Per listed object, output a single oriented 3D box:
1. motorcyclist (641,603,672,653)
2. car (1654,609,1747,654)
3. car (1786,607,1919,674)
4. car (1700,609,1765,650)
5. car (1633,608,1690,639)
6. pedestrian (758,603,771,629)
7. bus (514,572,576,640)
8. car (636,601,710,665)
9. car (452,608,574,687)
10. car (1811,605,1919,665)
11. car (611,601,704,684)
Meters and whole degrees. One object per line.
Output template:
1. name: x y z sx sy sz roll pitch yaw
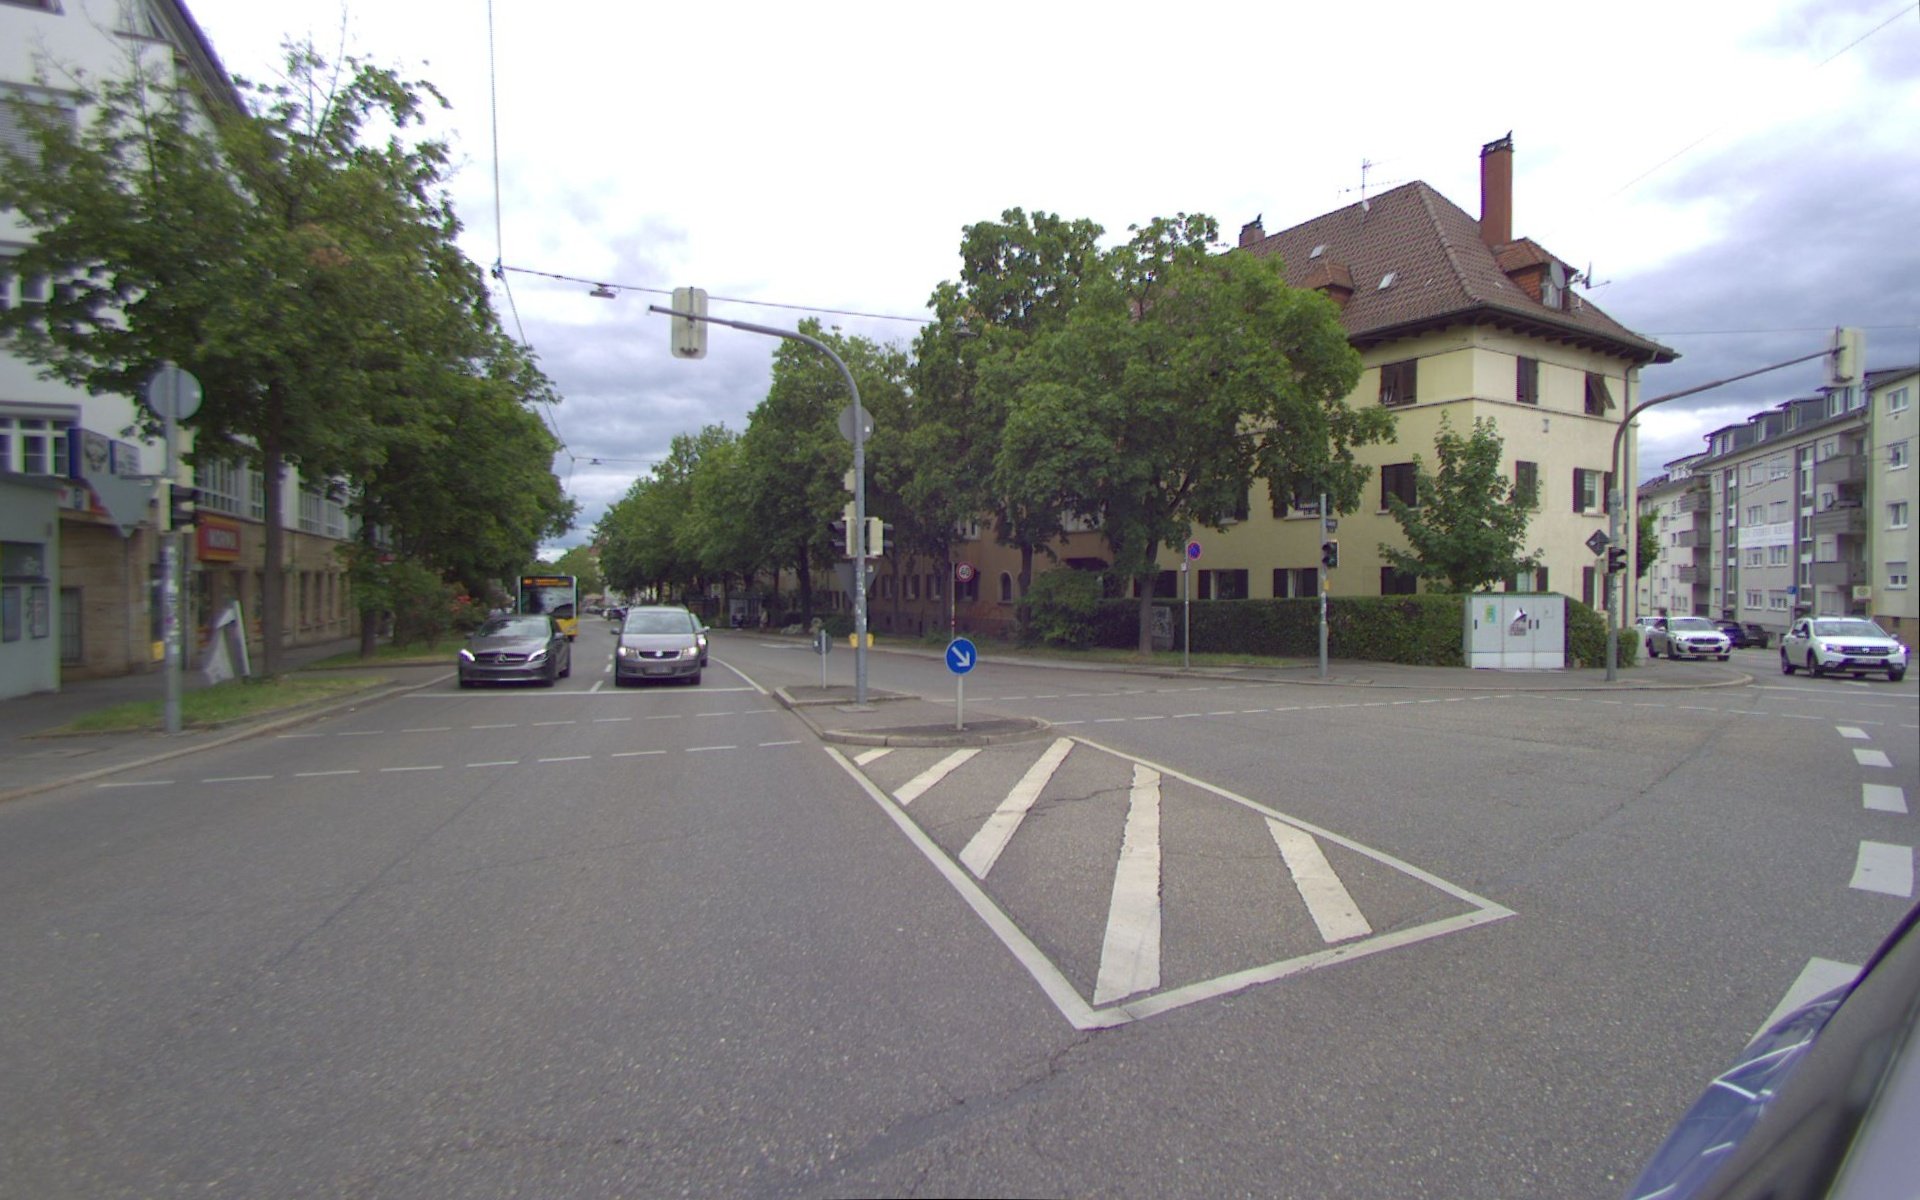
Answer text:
1. motorcyclist: -9.899 0.899 33.027 0.951 1.591 1.092 0 0 -16
2. car: 27.983 1.163 38.381 1.933 1.570 4.003 2 -1 23
3. car: 22.381 0.984 25.273 1.891 1.498 3.850 1 -1 27
4. car: 41.450 1.554 54.400 1.980 2.039 4.230 0 0 27
5. car: 37.715 1.247 54.507 1.935 1.570 3.997 1 -1 27
6. pedestrian: -12.781 1.027 66.064 0.702 1.689 0.524 0 0 -32
7. bus: -19.259 0.228 46.841 2.467 2.943 6.544 0 0 -23
8. car: -8.044 0.854 28.346 1.844 1.591 4.060 0 0 -16
9. car: -9.328 0.919 21.426 1.844 1.405 4.038 0 0 -16
10. car: 26.458 1.002 29.328 2.022 1.570 3.992 1 -1 30
11. car: -6.564 0.834 22.027 1.758 1.591 4.060 0 0 -16
